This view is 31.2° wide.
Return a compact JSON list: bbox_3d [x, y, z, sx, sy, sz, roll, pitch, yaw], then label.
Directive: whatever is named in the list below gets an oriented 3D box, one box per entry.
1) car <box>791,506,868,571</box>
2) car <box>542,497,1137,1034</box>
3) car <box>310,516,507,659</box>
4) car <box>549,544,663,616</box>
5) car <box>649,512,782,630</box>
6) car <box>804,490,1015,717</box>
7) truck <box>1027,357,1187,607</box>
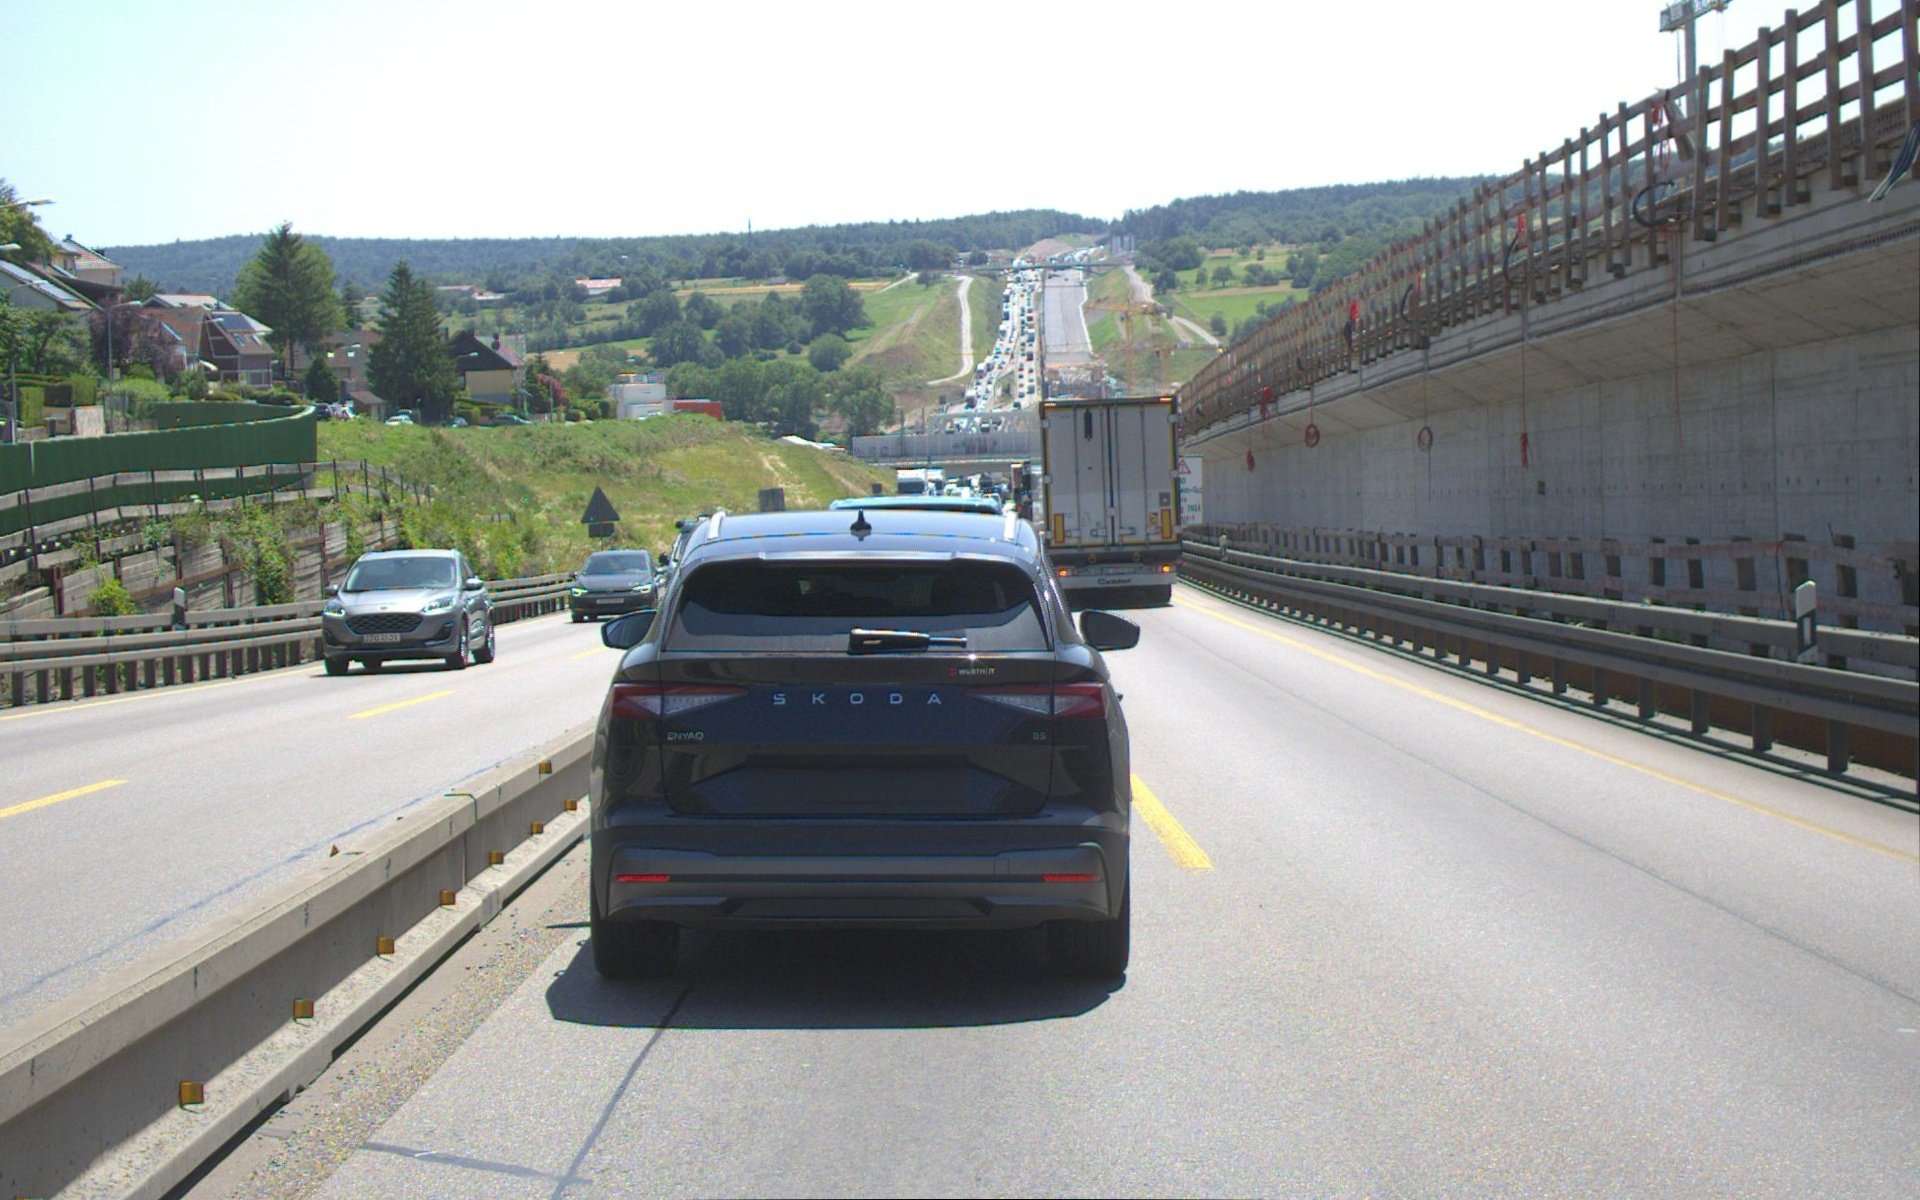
[{"bbox_3d":[-3.971,-1.879,105.619,2.157,1.899,5.326,-1,1,0],"label":"car"},{"bbox_3d":[-0.383,0.478,12.576,1.782,1.592,3.755,-3,1,0],"label":"car"},{"bbox_3d":[-7.478,-0.189,46.990,1.993,1.821,4.509,1,1,-1],"label":"car"},{"bbox_3d":[-7.460,-0.434,72.861,1.993,1.437,4.364,1,1,-1],"label":"car"},{"bbox_3d":[-4.401,-0.534,62.550,1.993,2.007,4.969,-2,1,0],"label":"car"},{"bbox_3d":[-0.470,-0.007,30.511,1.749,1.888,3.755,0,1,-1],"label":"car"},{"bbox_3d":[2.884,-2.275,70.438,2.846,4.599,11.811,-2,1,1],"label":"truck"}]
